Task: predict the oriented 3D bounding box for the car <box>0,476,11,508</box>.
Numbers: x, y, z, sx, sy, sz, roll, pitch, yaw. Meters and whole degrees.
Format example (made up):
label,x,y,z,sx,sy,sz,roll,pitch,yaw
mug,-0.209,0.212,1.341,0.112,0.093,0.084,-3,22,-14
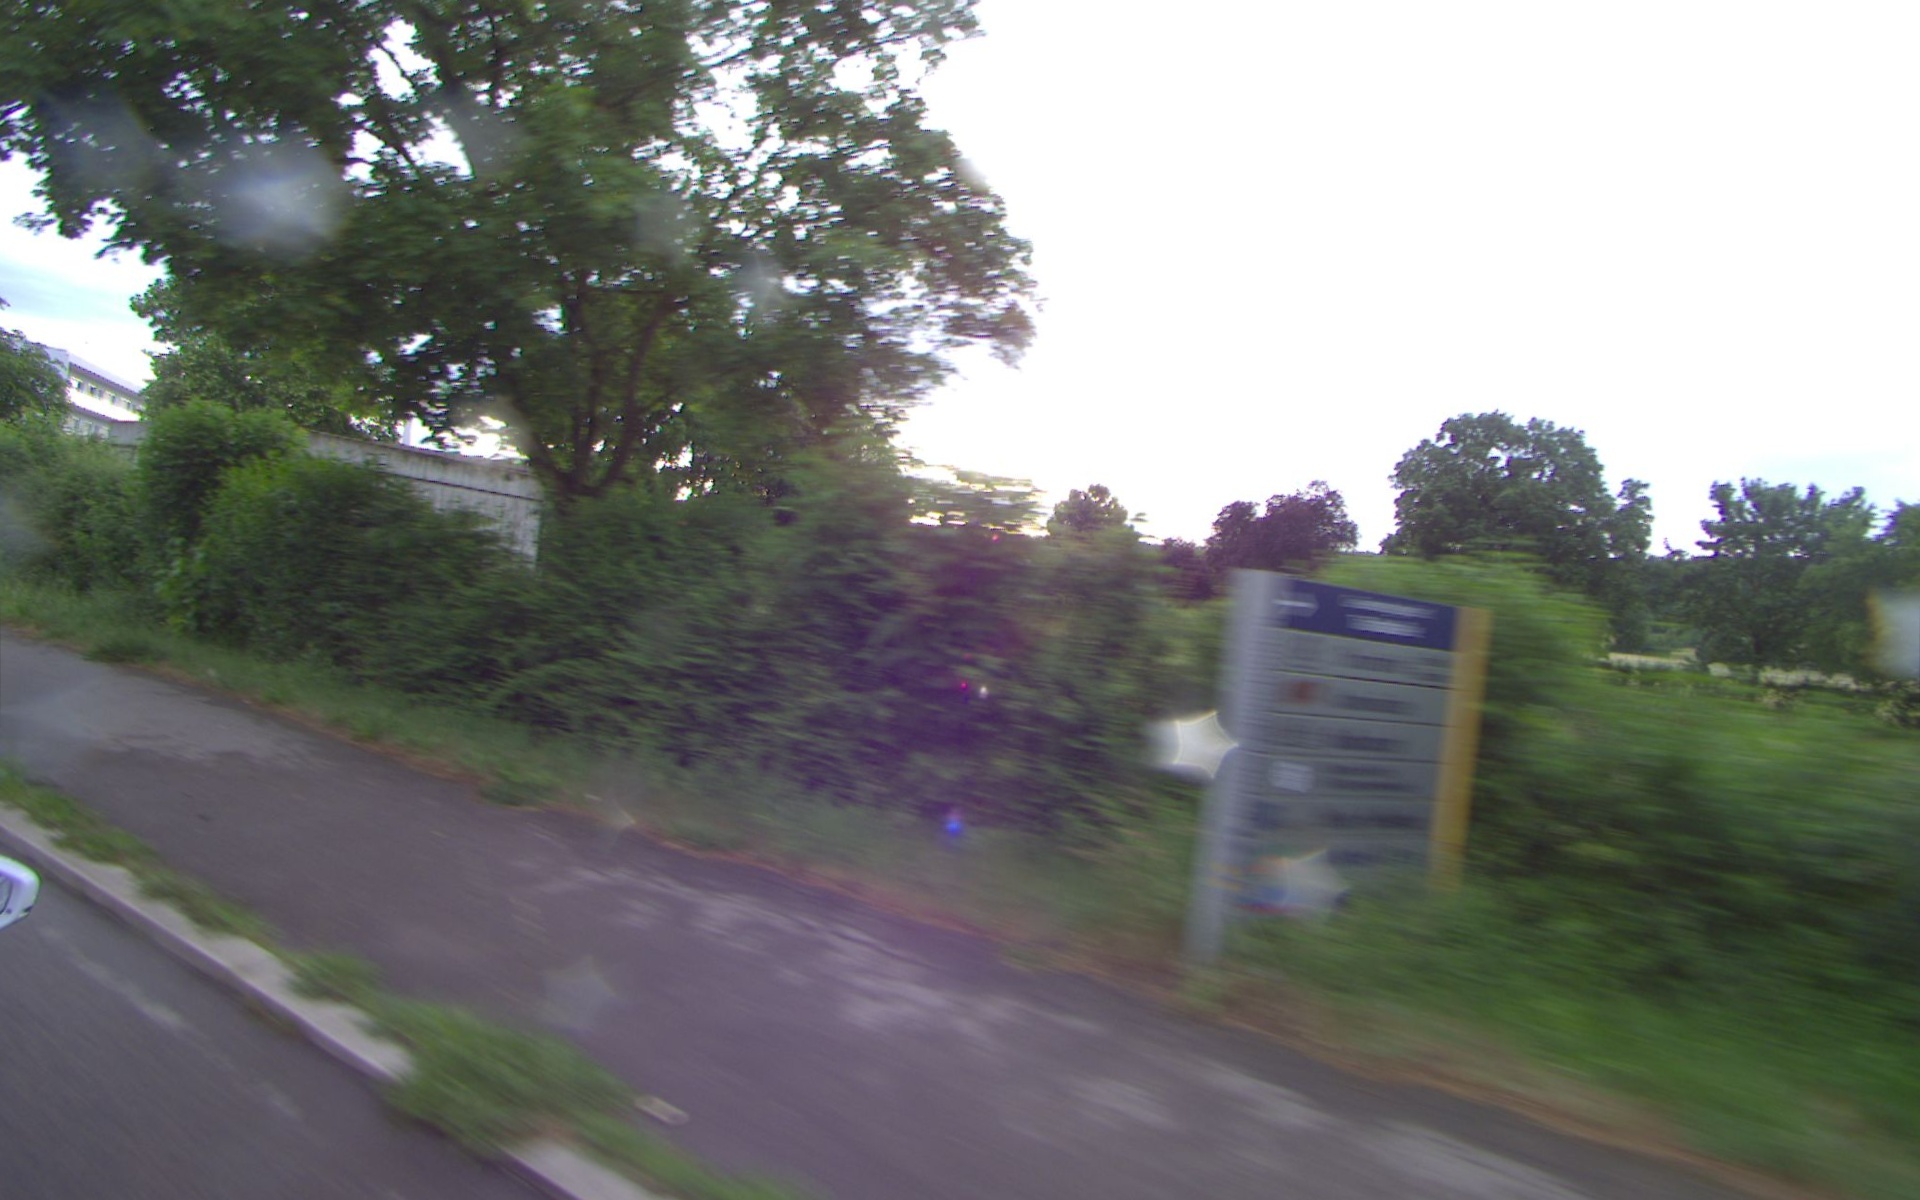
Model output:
label,x,y,z,sx,sy,sz,roll,pitch,yaw
car,-54.176,-6.150,54.899,4.534,1.621,1.656,7,-2,22
